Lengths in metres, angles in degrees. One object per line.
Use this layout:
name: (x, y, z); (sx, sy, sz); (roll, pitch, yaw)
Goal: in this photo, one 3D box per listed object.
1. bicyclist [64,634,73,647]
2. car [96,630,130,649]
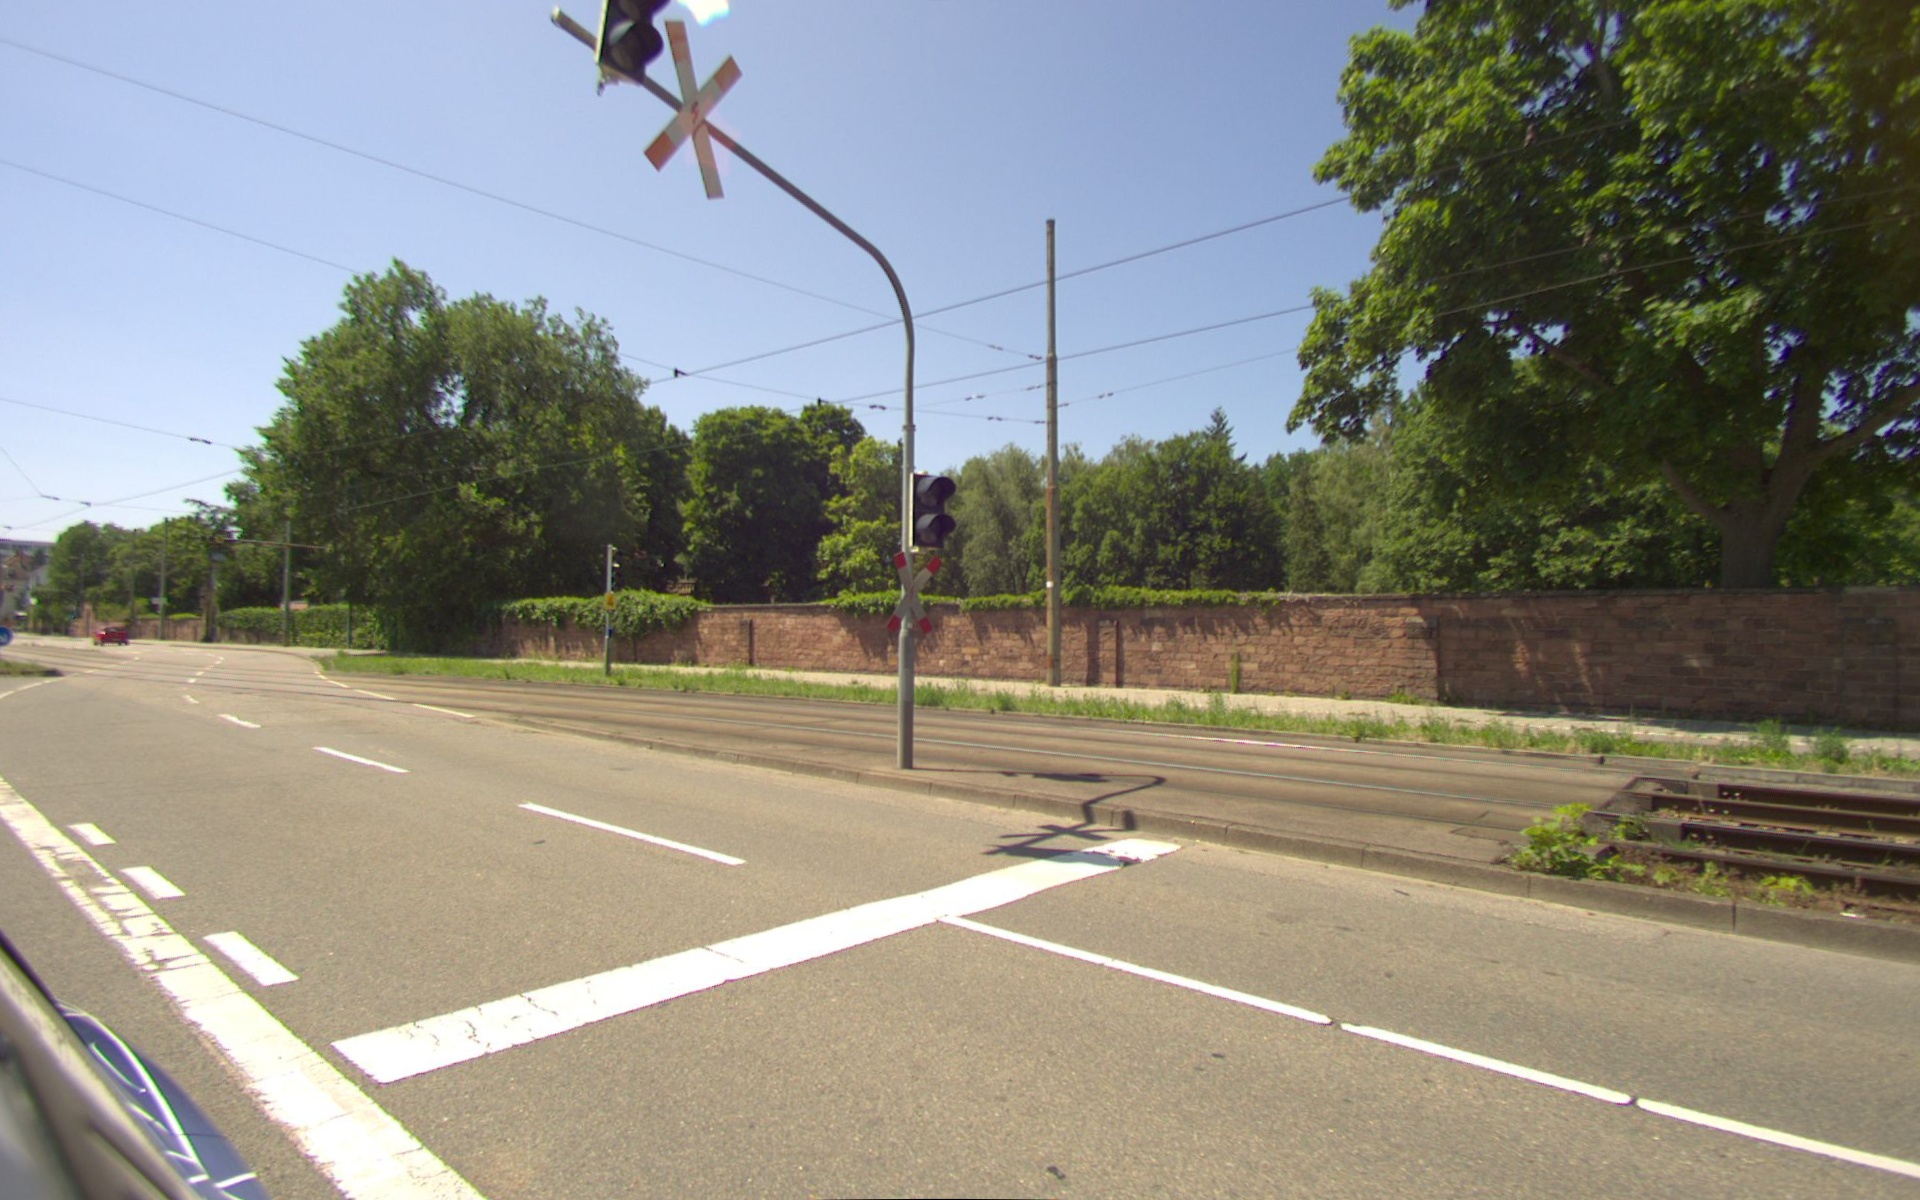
bicyclist: (-100.667, 4.543, 114.245); (0.662, 1.508, 0.646); (-2, -3, 40)
car: (-63.792, 2.954, 76.280); (1.684, 1.425, 4.291); (1, -2, -36)
